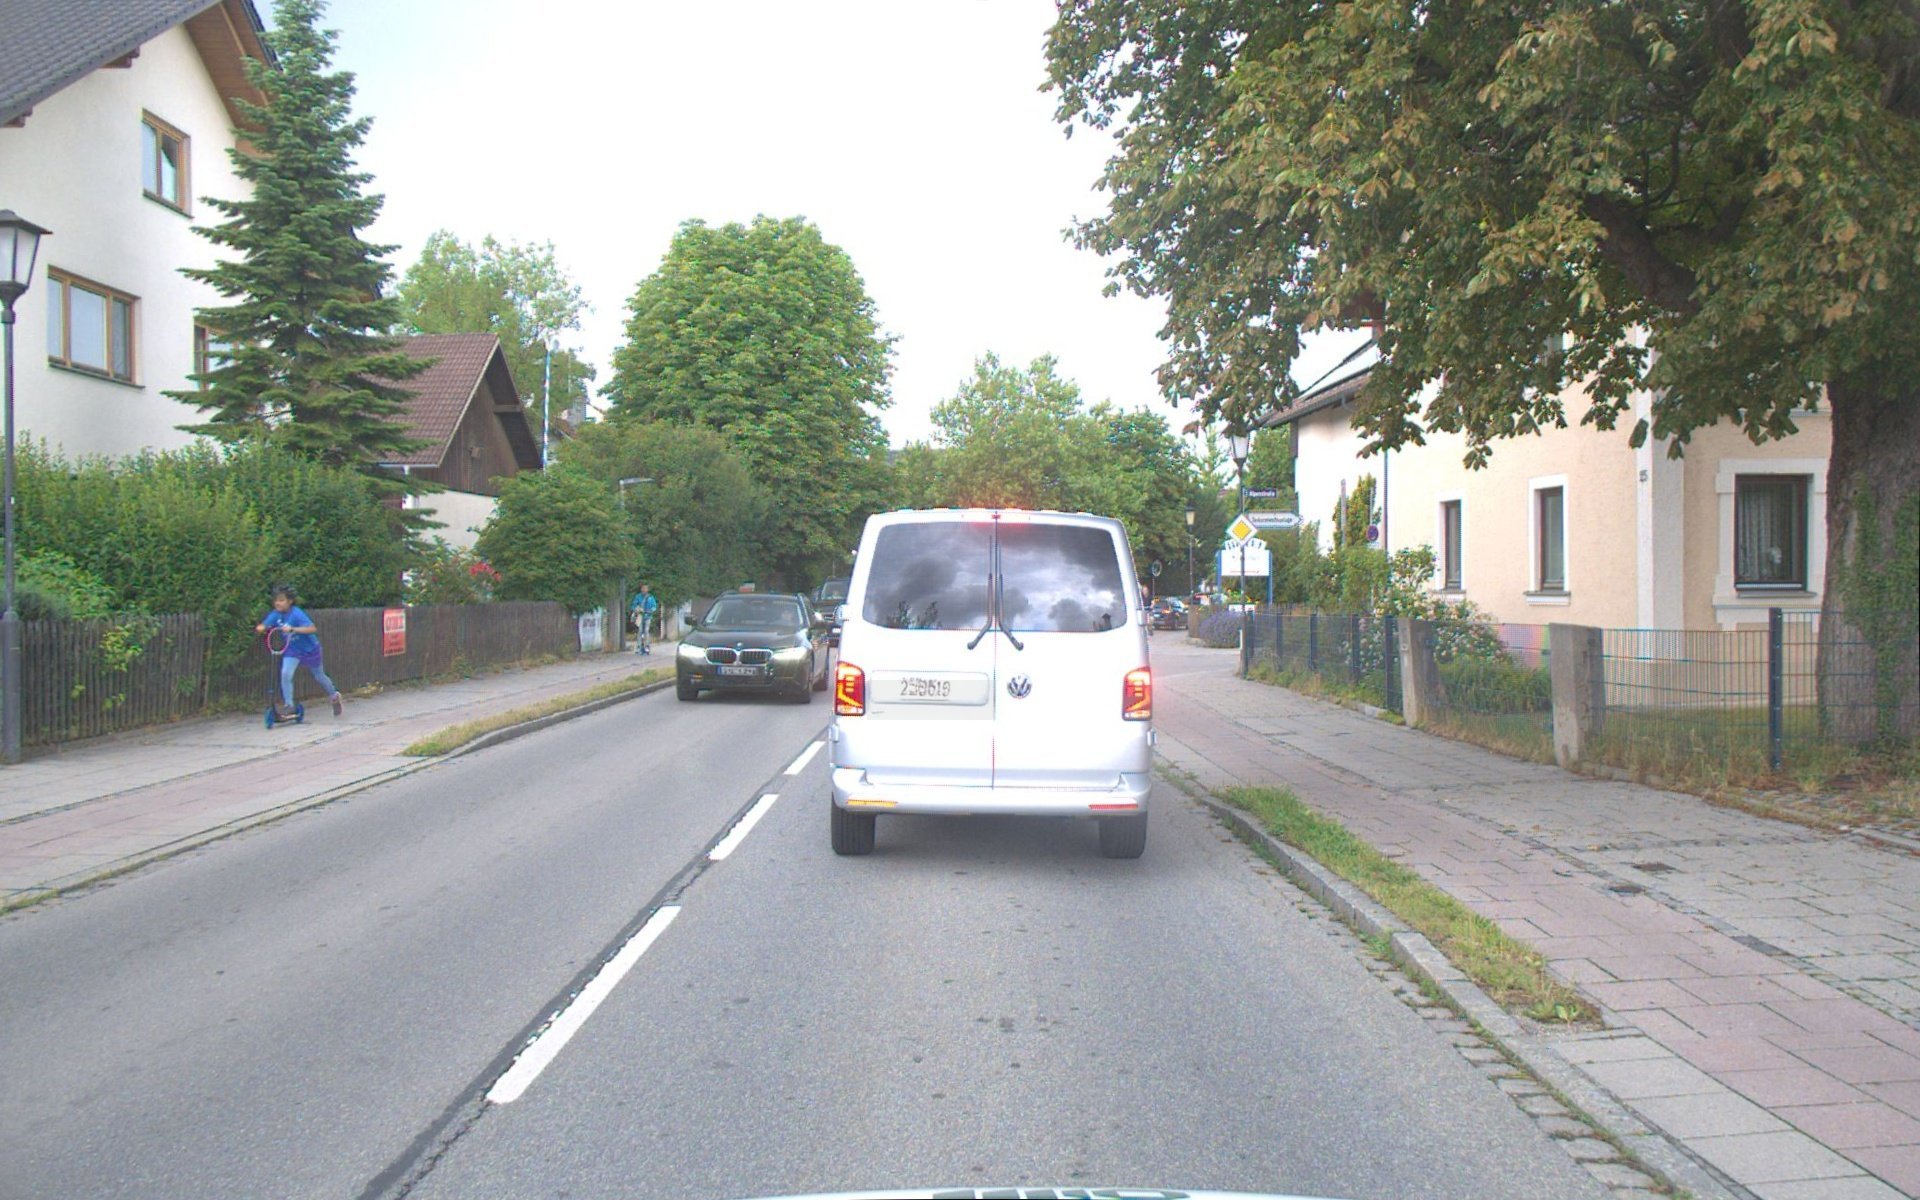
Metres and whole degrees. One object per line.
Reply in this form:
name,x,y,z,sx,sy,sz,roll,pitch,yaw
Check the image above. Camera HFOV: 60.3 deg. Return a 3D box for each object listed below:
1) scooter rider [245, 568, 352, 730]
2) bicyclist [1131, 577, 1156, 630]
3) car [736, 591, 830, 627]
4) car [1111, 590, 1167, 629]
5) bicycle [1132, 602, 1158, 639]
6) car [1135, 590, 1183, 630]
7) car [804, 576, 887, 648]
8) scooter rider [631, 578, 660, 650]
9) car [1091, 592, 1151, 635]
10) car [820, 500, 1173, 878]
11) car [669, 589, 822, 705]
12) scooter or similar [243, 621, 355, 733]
scooter rider,-6.595,0.477,16.518,0.679,1.551,0.800,2,0,-1
bicyclist,5.818,0.116,52.453,0.721,1.661,0.890,0,0,1
car,-7.524,0.373,70.125,3.913,1.512,1.996,0,0,-9
car,7.428,0.367,68.398,1.841,1.562,3.924,0,0,13
bicycle,5.859,0.647,52.540,0.748,1.163,1.846,0,0,4
car,9.113,0.433,75.454,1.841,1.779,4.084,0,0,12
car,-3.123,0.304,46.115,1.924,1.885,4.948,0,0,0
scooter rider,-6.692,0.296,35.198,0.492,1.515,0.716,0,0,-1
car,6.113,0.491,62.524,1.841,1.562,3.924,0,0,11
car,0.202,0.456,10.604,1.842,1.974,3.920,0,0,0
car,-2.979,0.611,23.823,1.809,1.479,4.546,1,0,-3
scooter or similar,-6.594,0.749,16.548,0.647,1.055,1.178,0,0,-1
